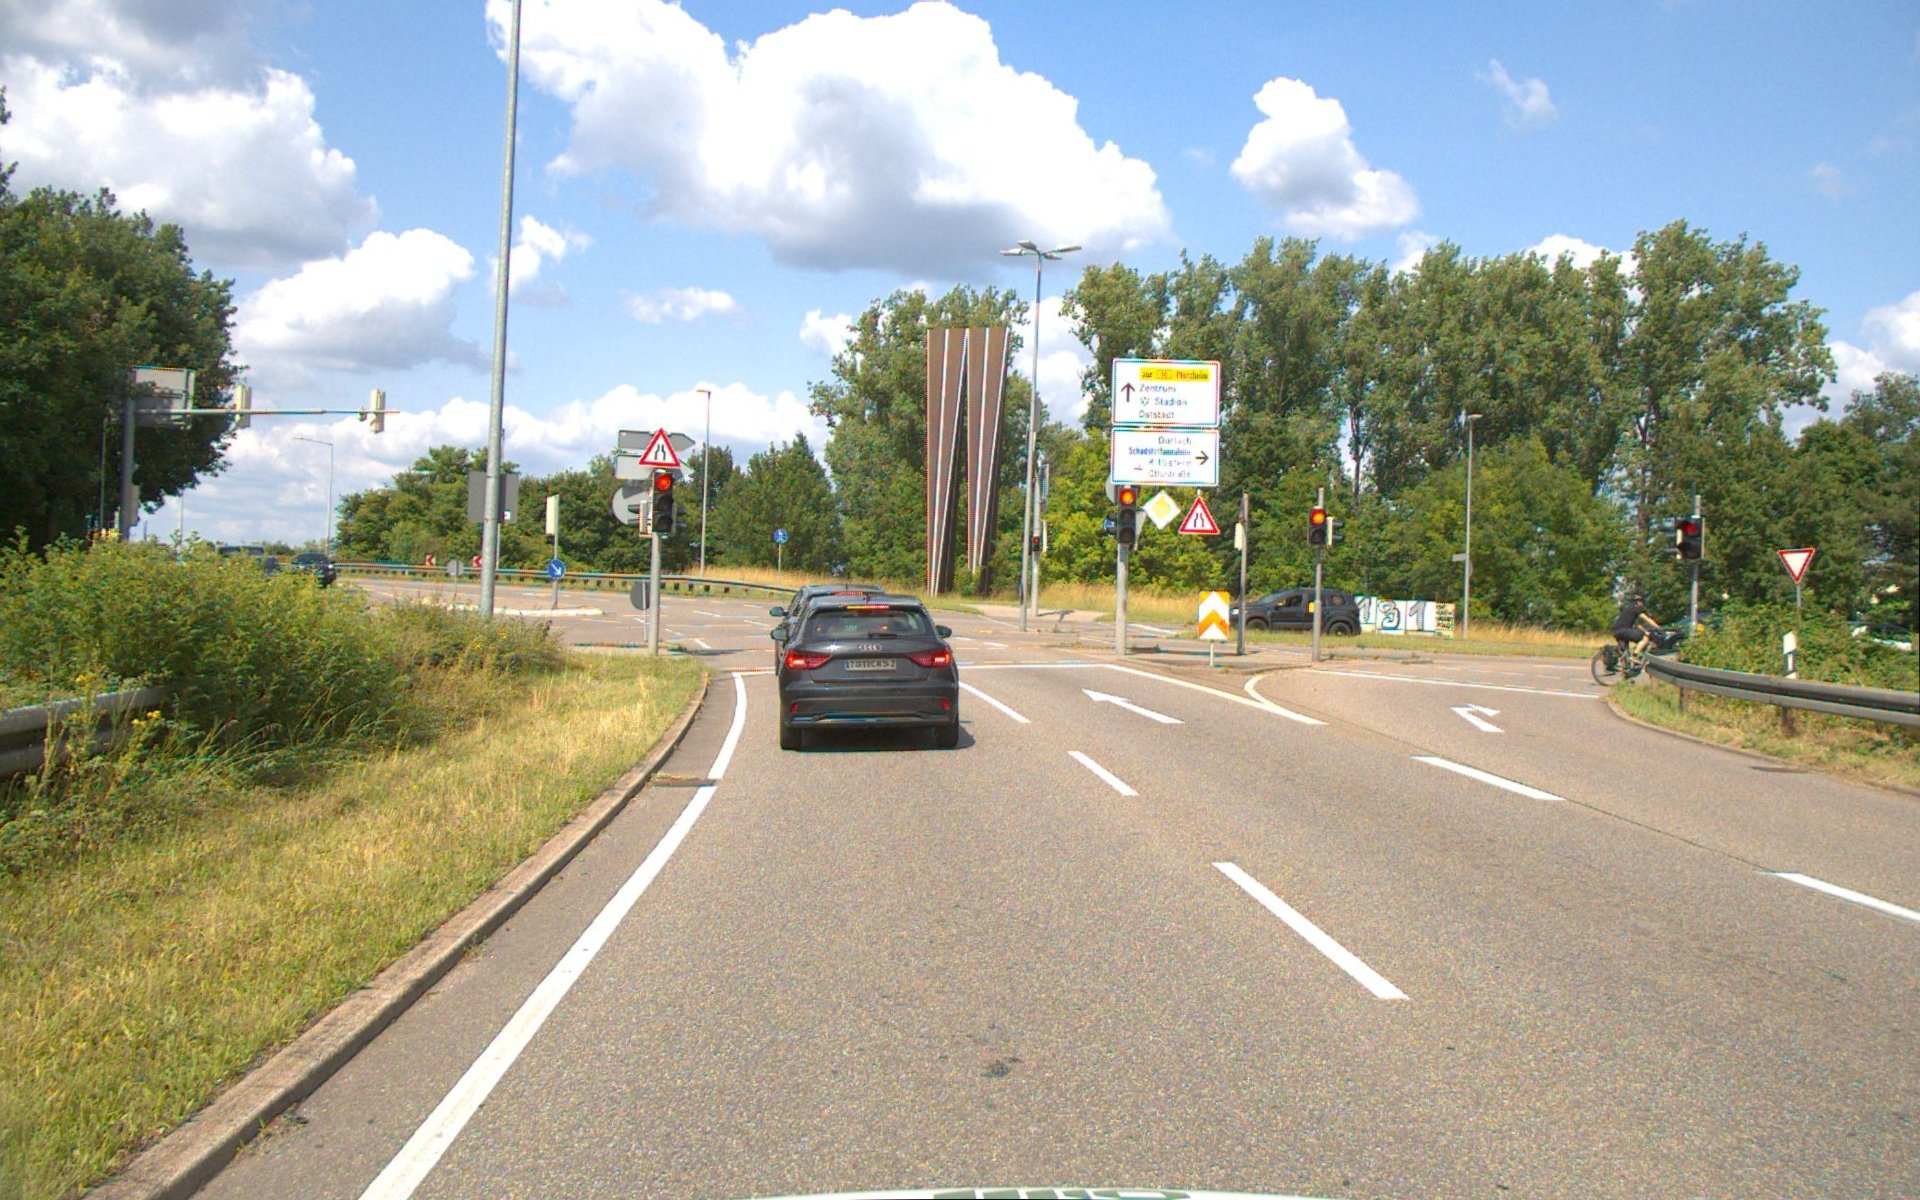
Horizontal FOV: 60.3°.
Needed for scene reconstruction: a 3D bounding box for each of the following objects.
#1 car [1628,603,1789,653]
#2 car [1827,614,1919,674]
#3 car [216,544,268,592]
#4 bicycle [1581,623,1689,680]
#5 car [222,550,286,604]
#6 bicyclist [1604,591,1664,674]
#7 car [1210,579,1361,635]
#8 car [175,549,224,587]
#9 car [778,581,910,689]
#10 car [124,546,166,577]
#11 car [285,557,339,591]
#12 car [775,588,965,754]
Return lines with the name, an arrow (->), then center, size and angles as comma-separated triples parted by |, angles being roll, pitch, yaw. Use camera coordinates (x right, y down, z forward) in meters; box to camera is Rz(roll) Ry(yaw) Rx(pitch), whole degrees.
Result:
car -> 25.509, 0.938, 56.411 | 4.753, 1.572, 1.735 | 1, 0, -5
car -> 26.264, 1.260, 45.518 | 3.960, 1.502, 1.733 | 3, 0, -10
car -> -29.130, -1.302, 67.077 | 1.819, 1.833, 4.293 | 1, 1, -25
bicycle -> 13.147, 1.001, 32.216 | 2.022, 1.041, 0.668 | 1, 0, -20
car -> -22.887, -0.707, 53.580 | 1.815, 1.646, 3.969 | 1, -1, -24
bicyclist -> 13.118, 0.630, 32.201 | 0.821, 1.587, 0.668 | 1, 0, -20
car -> 9.864, 0.205, 50.265 | 4.185, 1.572, 1.735 | 1, 0, -5
car -> -37.027, -1.556, 80.482 | 1.823, 1.735, 4.284 | 1, 1, -30
car -> -1.807, 0.457, 24.762 | 1.694, 1.448, 3.838 | -1, 1, -8
car -> -47.542, -2.227, 96.449 | 1.825, 1.735, 4.280 | 1, 1, -32
car -> -29.483, -1.183, 75.223 | 1.923, 1.443, 3.937 | 1, 1, -26
car -> -0.954, 0.621, 16.836 | 1.692, 1.428, 3.997 | -1, 1, -4
